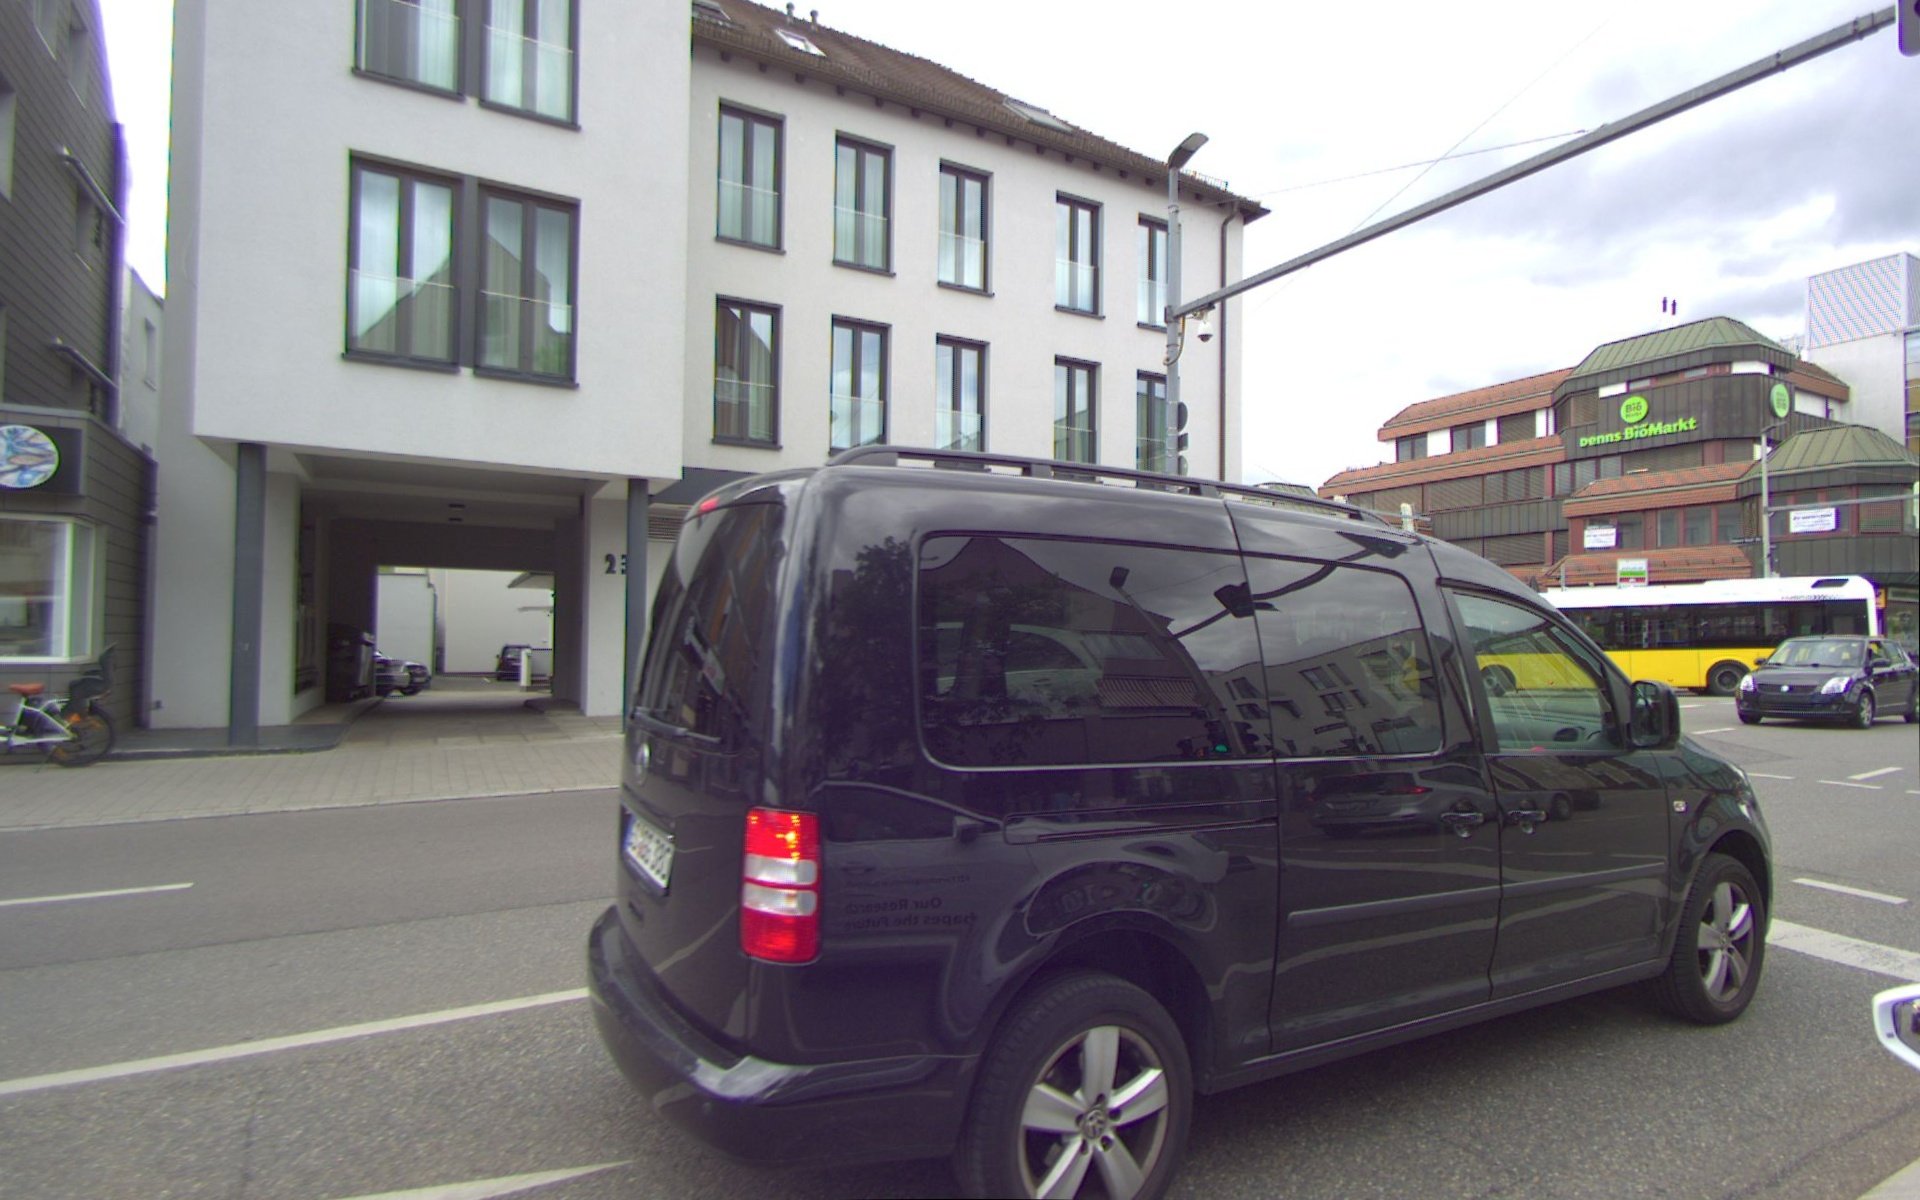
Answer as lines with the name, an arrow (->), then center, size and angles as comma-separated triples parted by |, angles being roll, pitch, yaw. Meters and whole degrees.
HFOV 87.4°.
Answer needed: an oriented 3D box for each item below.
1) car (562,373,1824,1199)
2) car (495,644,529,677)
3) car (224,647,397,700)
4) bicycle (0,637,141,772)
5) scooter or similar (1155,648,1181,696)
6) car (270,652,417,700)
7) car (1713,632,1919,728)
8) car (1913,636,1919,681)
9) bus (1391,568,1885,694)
car -> 1.081, 0.553, 3.662 | 4.517, 1.845, 1.700 | 1, 0, -30
car -> -22.904, 3.058, 51.423 | 1.498, 1.458, 3.555 | 1, 0, -23
car -> -15.688, 1.770, 24.432 | 3.305, 1.195, 1.391 | 1, -4, -24
bicycle -> -9.234, 0.986, 9.593 | 2.094, 1.248, 0.579 | 1, -1, -30
scooter or similar -> 5.307, 1.828, 25.565 | 0.418, 1.173, 1.575 | 0, -4, 20
car -> -16.687, 2.044, 27.330 | 3.119, 1.195, 1.394 | 0, -3, -17
car -> 14.860, 1.298, 17.214 | 3.771, 1.478, 1.737 | 1, -2, -29
car -> 32.773, 1.813, 32.328 | 4.142, 1.436, 1.630 | -1, -3, -25
bus -> 19.915, 1.122, 30.864 | 12.067, 3.370, 2.997 | -2, -4, 21
